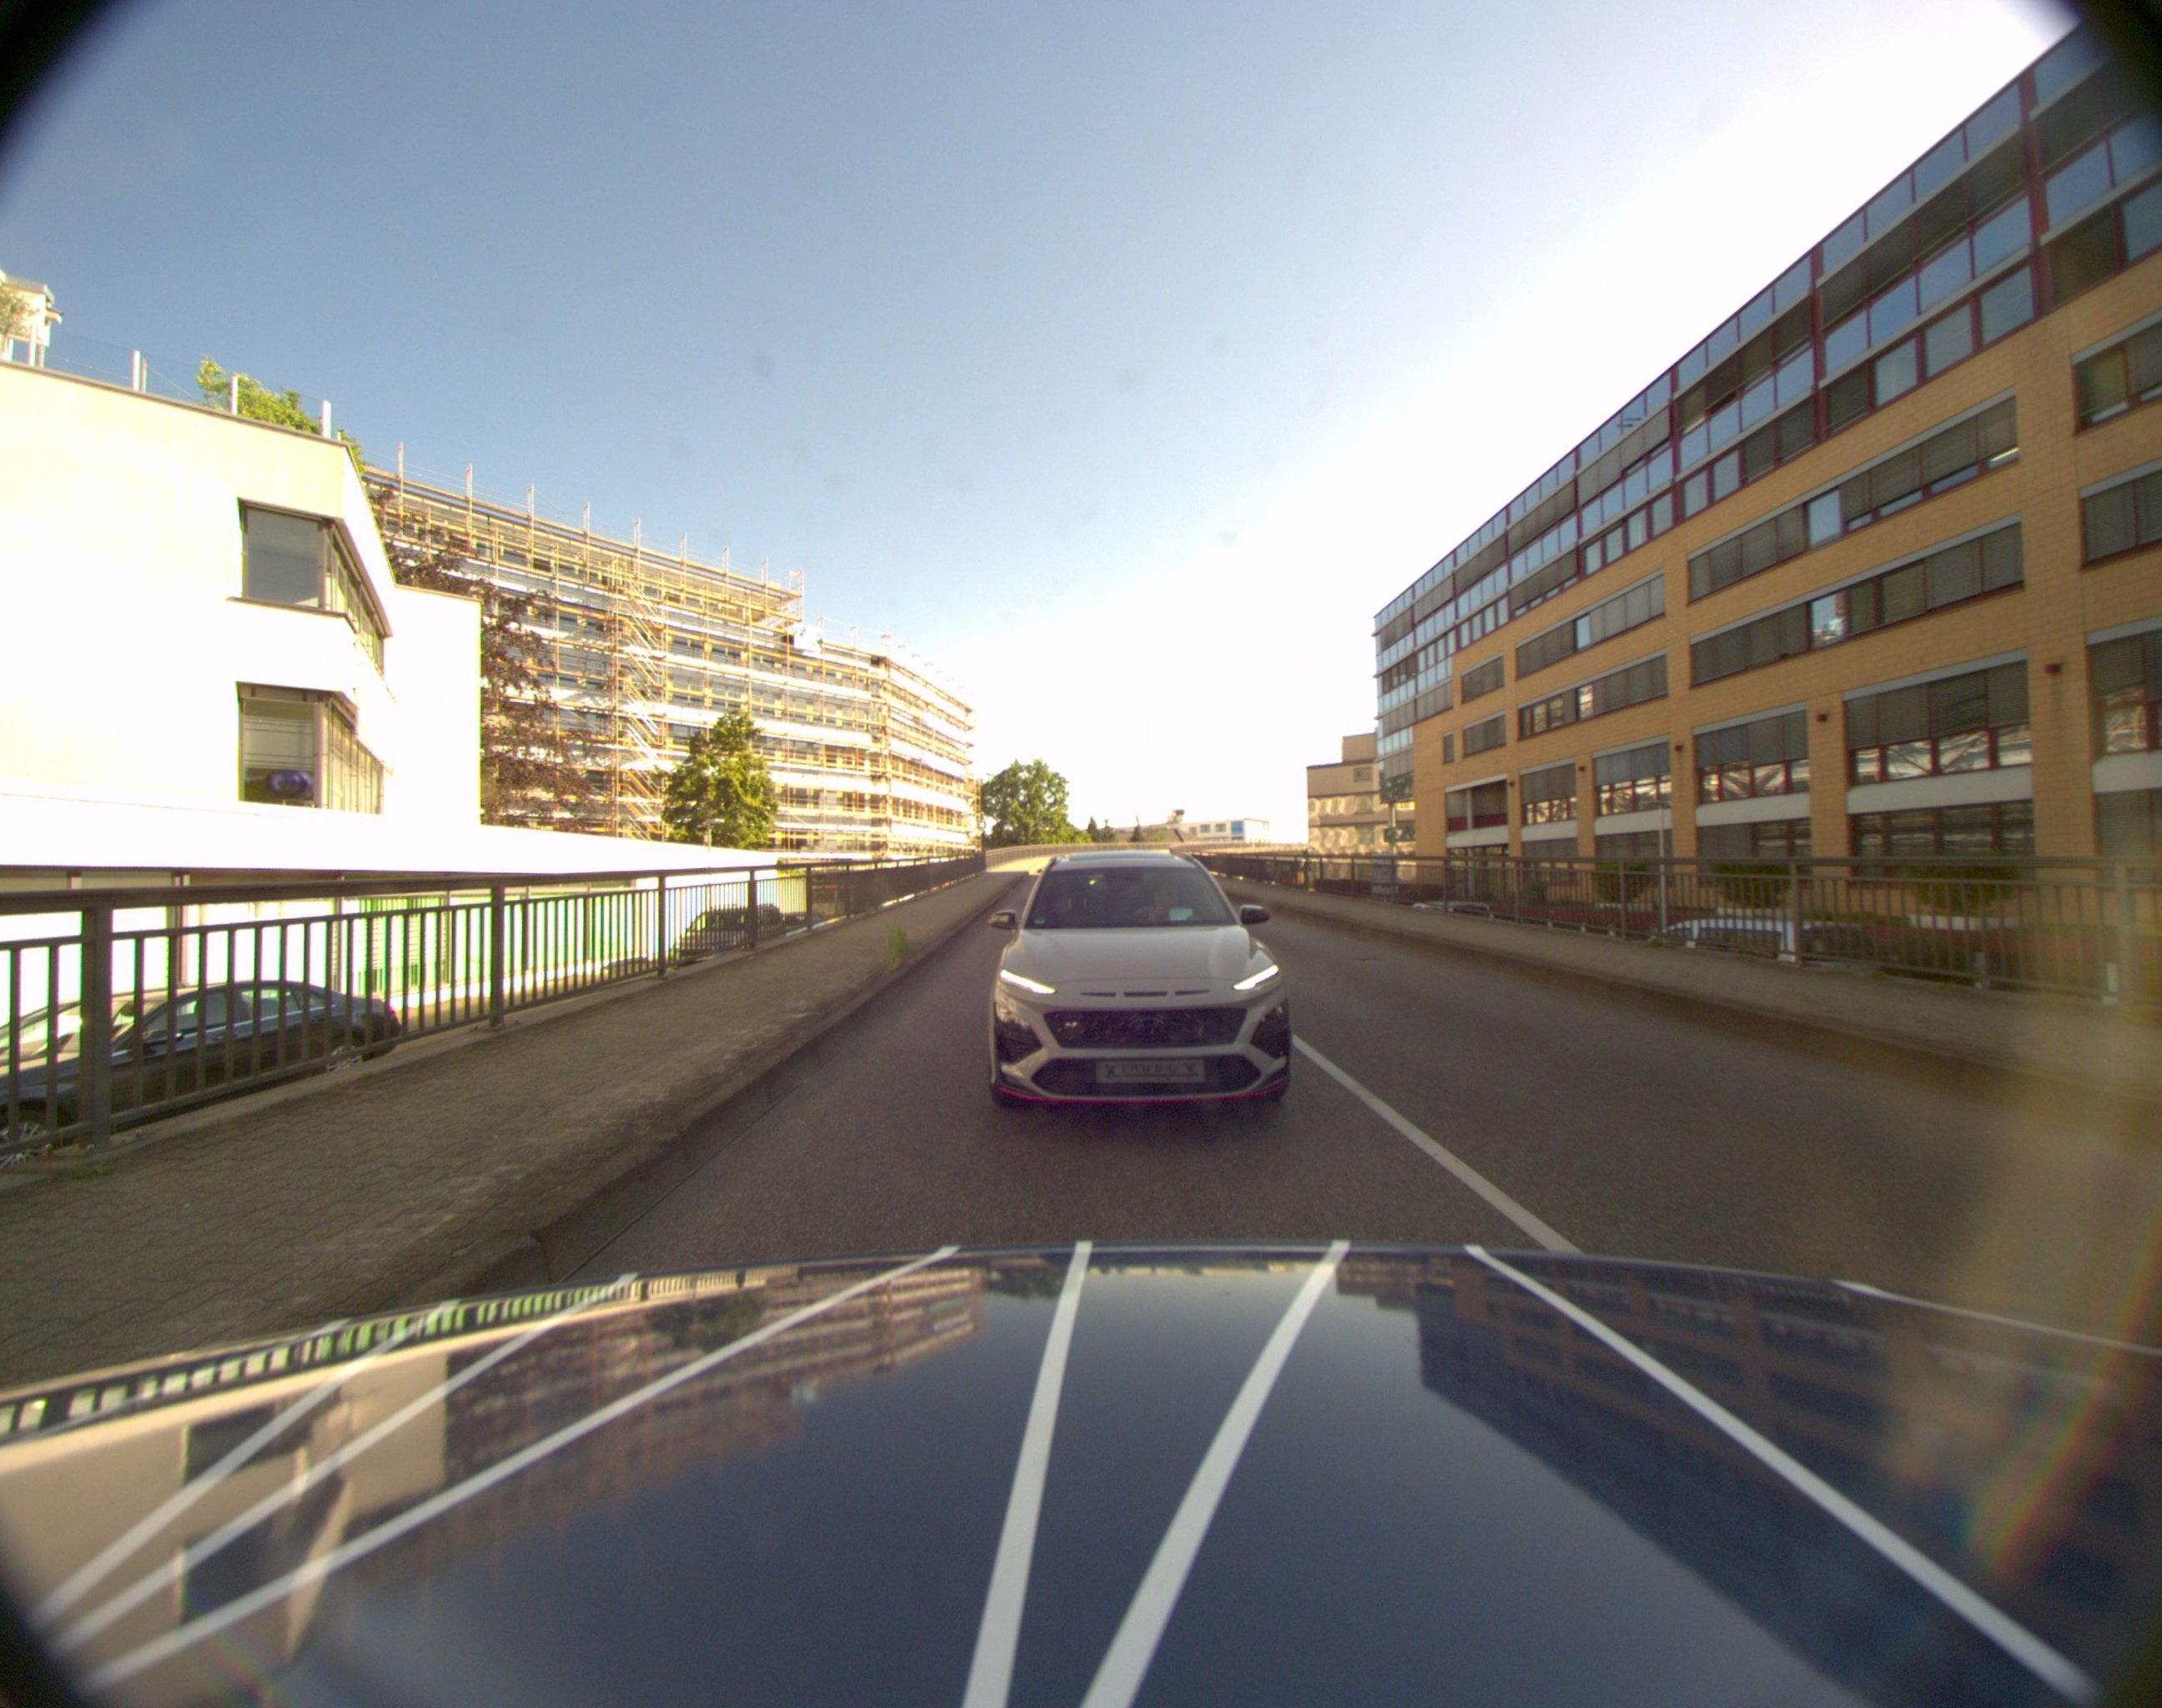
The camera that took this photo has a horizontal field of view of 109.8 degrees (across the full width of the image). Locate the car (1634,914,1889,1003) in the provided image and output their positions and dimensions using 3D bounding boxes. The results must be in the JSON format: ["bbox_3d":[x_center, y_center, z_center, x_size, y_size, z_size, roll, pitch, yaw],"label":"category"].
[{"bbox_3d":[13.049,1.942,14.925,1.580,1.261,3.809,0,-1,-1],"label":"car"}]

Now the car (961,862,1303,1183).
[{"bbox_3d":[0.289,0.891,5.896,1.749,1.637,4.001,0,-1,1],"label":"car"}]

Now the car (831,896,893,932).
[{"bbox_3d":[-10.212,2.781,35.680,1.726,1.383,4.000,-2,-1,-1],"label":"car"}]

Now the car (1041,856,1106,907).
[{"bbox_3d":[-0.273,0.813,24.243,1.902,1.433,4.126,0,0,-1],"label":"car"}]

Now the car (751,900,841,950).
[{"bbox_3d":[-10.089,2.485,27.219,1.726,1.383,4.000,-2,-1,-1],"label":"car"}]

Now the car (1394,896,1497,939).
[{"bbox_3d":[12.742,2.198,26.832,1.766,1.261,3.809,0,-1,-1],"label":"car"}]

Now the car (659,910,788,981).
[{"bbox_3d":[-9.907,2.478,21.431,1.726,1.513,4.000,-2,-1,-1],"label":"car"}]

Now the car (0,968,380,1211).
[{"bbox_3d":[-9.596,2.173,7.420,1.726,1.513,4.001,-2,-1,1],"label":"car"}]
